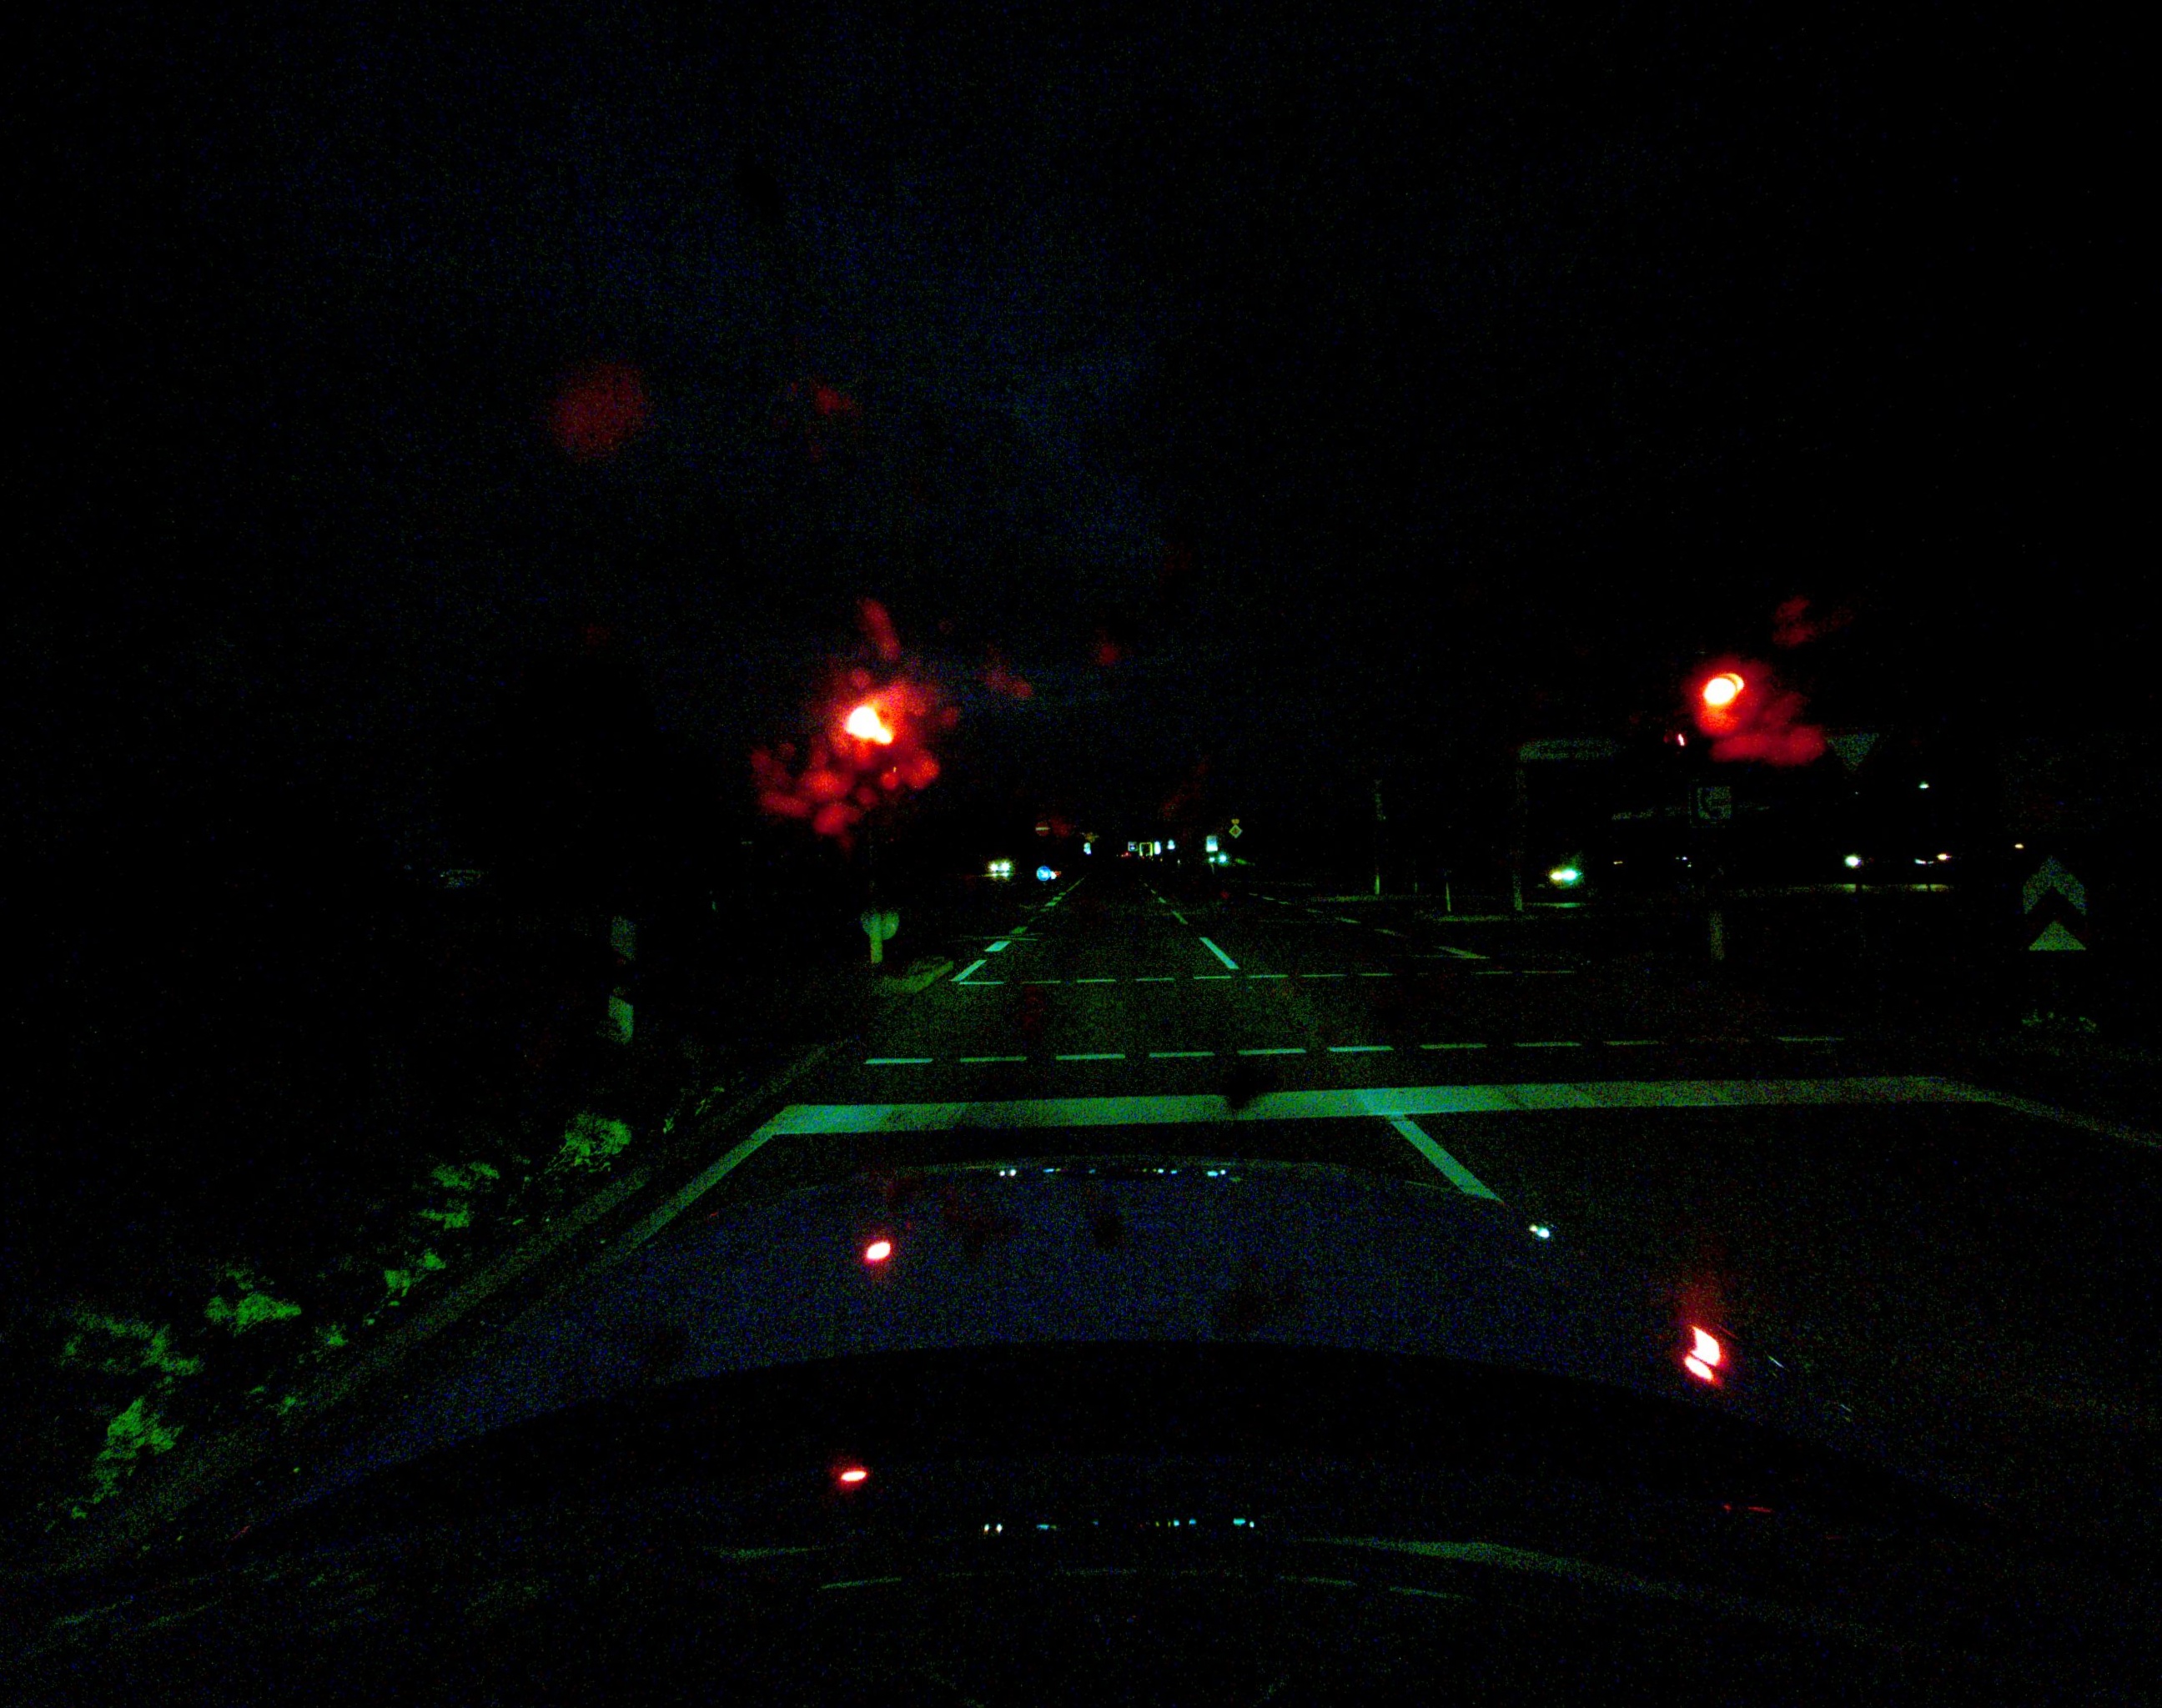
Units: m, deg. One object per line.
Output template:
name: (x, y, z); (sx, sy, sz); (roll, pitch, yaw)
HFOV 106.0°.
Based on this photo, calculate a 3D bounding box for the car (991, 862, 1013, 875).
car: (-9.100, 1.686, 94.272); (1.986, 1.387, 4.002); (-2, 0, 2)

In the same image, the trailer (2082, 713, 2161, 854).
trailer: (37.558, -2.508, 25.869); (9.040, 4.301, 2.916); (-5, 0, -9)

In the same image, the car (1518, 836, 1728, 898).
car: (15.287, 0.351, 23.183); (4.583, 1.520, 2.001); (-2, 0, 2)

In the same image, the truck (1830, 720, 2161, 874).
truck: (28.399, -1.706, 24.459); (10.033, 3.979, 2.917); (-3, 0, -8)
